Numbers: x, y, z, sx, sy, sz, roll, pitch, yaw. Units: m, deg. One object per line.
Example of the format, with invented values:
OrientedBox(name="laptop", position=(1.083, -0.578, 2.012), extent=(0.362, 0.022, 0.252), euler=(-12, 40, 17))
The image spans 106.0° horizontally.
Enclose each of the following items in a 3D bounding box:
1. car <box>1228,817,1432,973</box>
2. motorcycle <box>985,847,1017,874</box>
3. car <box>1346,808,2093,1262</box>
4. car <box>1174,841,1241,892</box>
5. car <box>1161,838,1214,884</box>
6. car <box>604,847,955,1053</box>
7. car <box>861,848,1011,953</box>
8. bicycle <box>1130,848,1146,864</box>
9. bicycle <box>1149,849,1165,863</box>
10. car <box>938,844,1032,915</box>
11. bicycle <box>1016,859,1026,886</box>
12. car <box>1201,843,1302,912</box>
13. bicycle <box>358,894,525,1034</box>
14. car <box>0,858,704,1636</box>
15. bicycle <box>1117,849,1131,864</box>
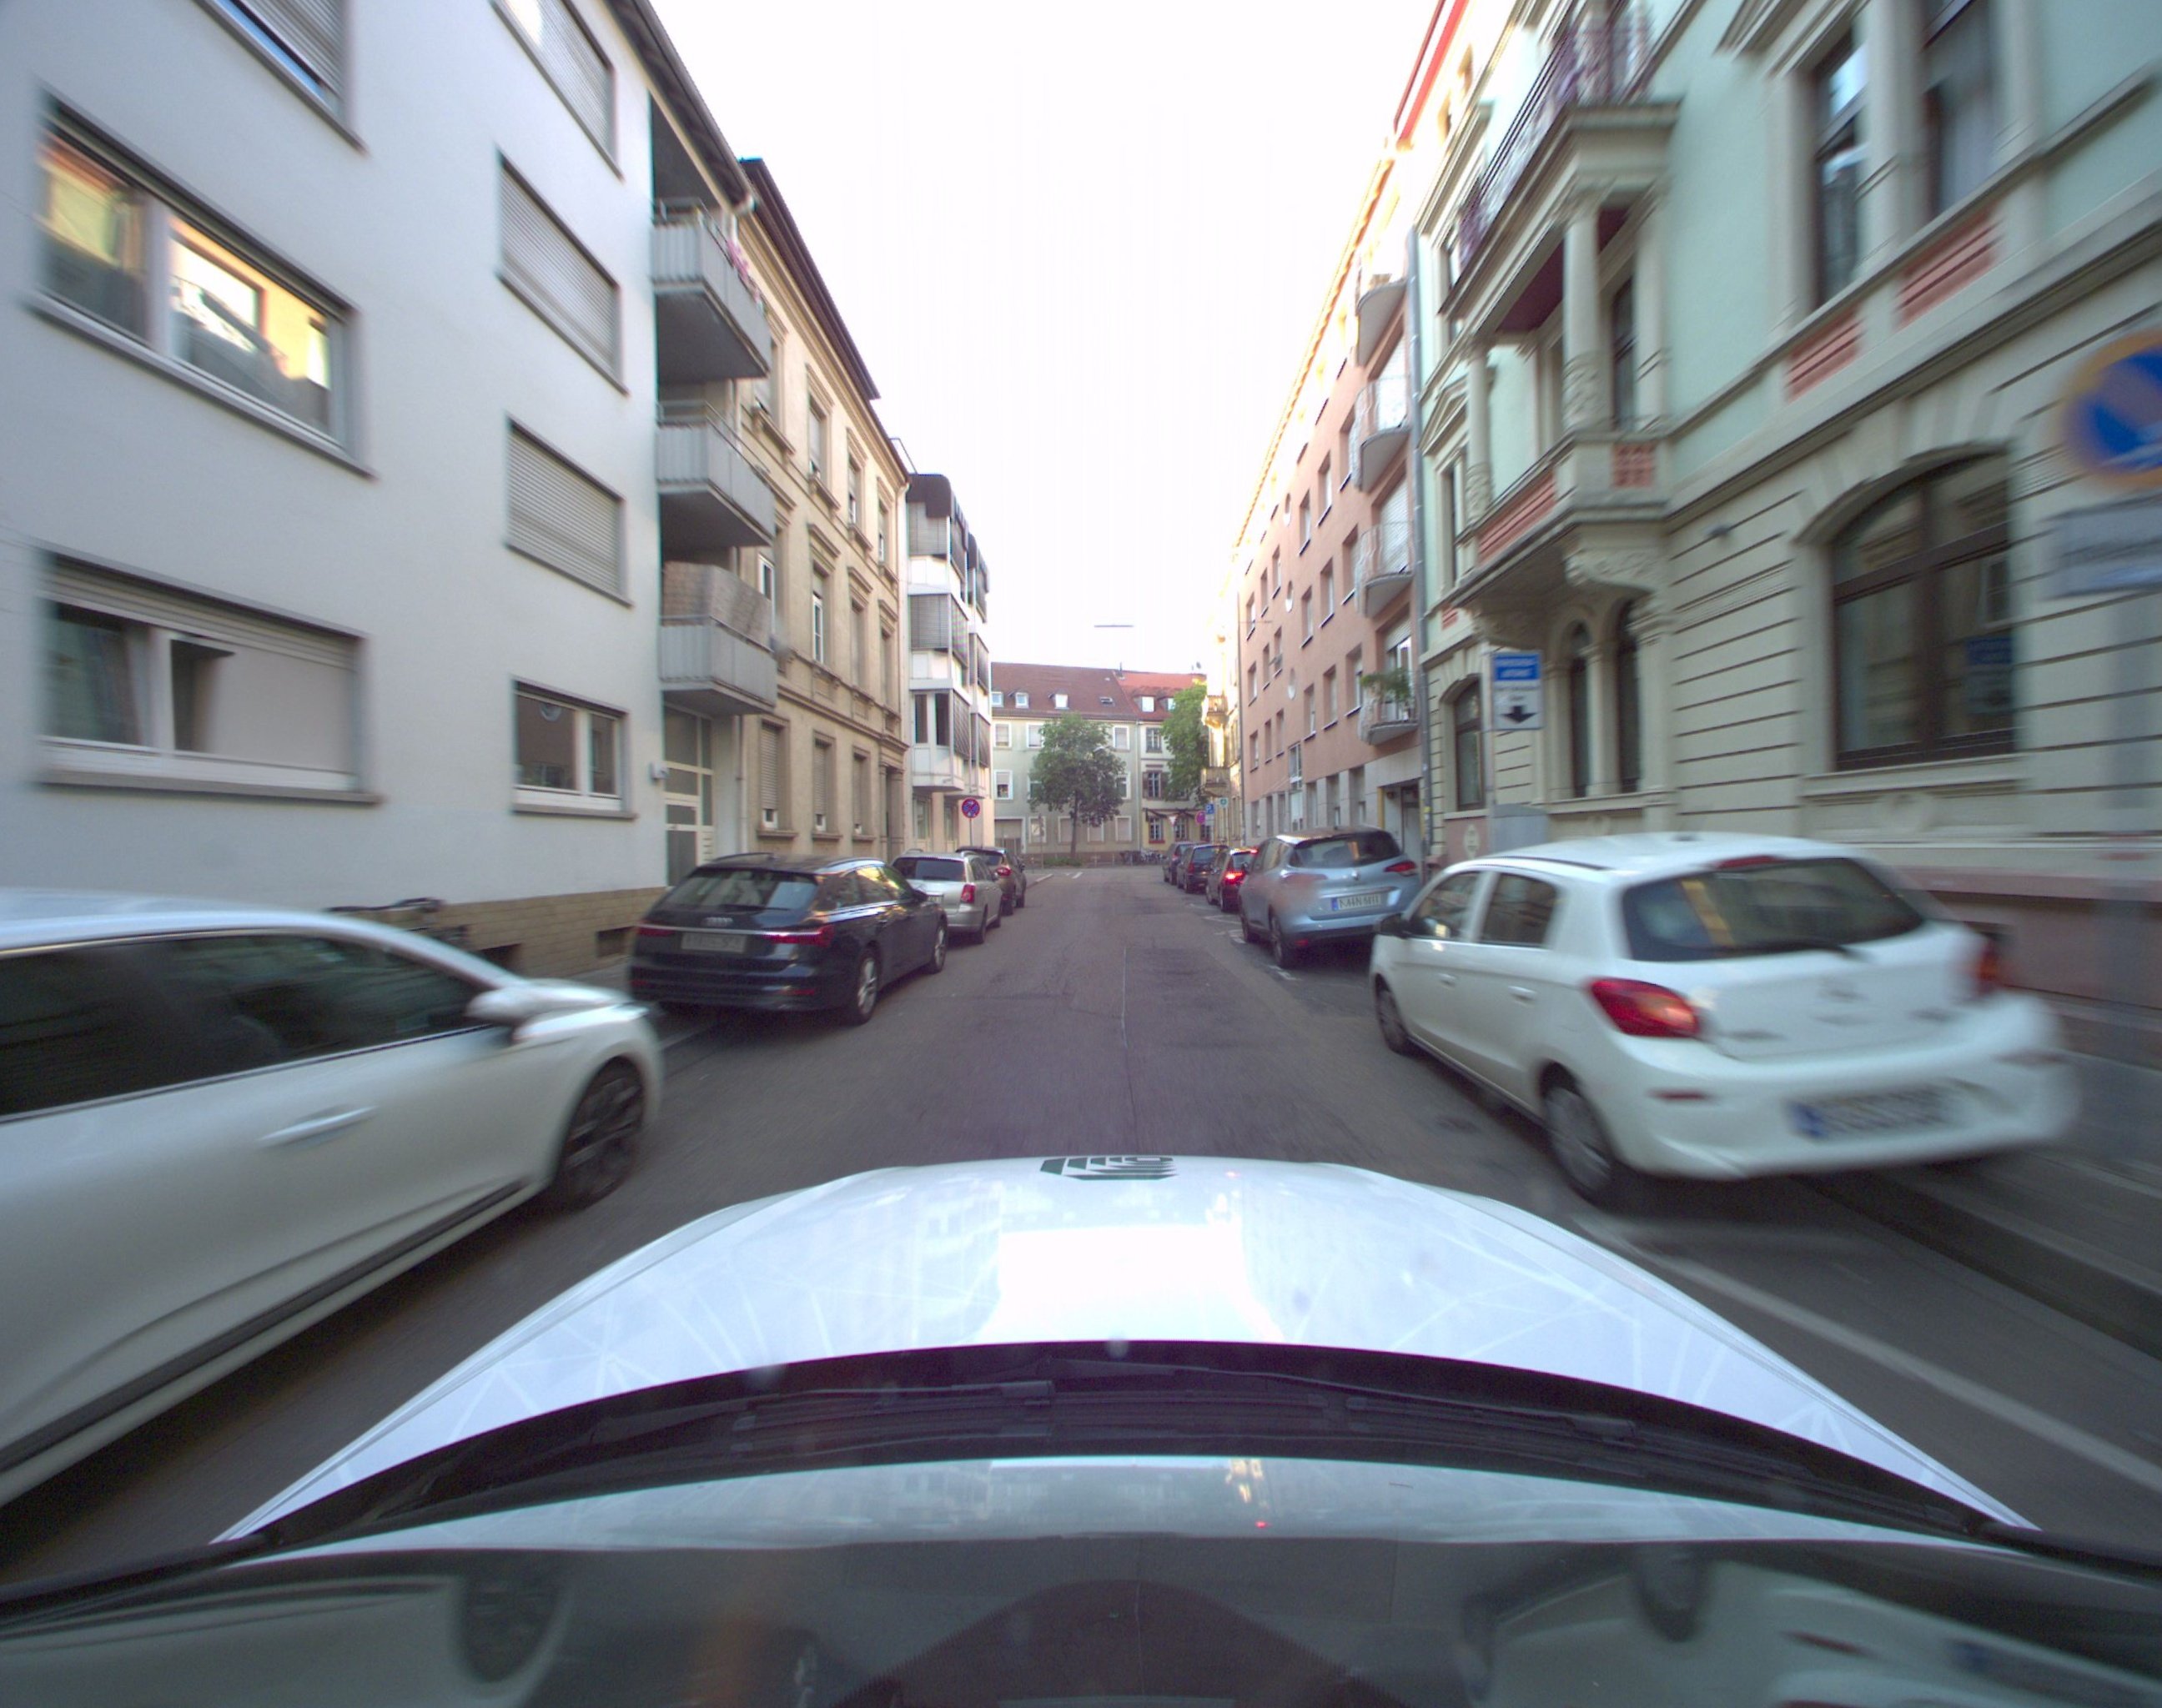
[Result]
OrientedBox(name="car", position=(3.194, 0.448, 11.293), extent=(1.683, 1.741, 4.112), euler=(-1, 0, 2))
OrientedBox(name="motorcycle", position=(-4.689, 0.393, 47.637), extent=(0.673, 1.555, 2.137), euler=(-2, 0, -40))
OrientedBox(name="car", position=(2.837, 0.629, 4.679), extent=(1.564, 1.578, 3.592), euler=(-1, 0, 2))
OrientedBox(name="car", position=(4.065, 0.364, 26.779), extent=(1.683, 1.514, 4.286), euler=(-1, 0, 2))
OrientedBox(name="car", position=(4.106, 0.239, 31.903), extent=(1.683, 1.625, 4.057), euler=(-1, 0, 2))
OrientedBox(name="car", position=(-2.665, 0.721, 8.493), extent=(1.783, 1.539, 4.497), euler=(-1, 0, 2))
OrientedBox(name="car", position=(-2.388, 0.684, 14.577), extent=(1.784, 1.539, 4.435), euler=(-1, 0, 1))
OrientedBox(name="bicycle", position=(4.391, 0.148, 62.737), extent=(0.446, 1.145, 2.029), euler=(-2, 0, -19))
OrientedBox(name="bicycle", position=(6.071, 0.167, 65.243), extent=(0.421, 1.145, 2.028), euler=(-2, 0, -20))
OrientedBox(name="car", position=(-2.289, 0.562, 20.460), extent=(1.784, 1.576, 4.071), euler=(-1, 0, 1))
OrientedBox(name="bicycle", position=(-2.554, 0.770, 34.680), extent=(0.399, 1.102, 1.811), euler=(-1, 0, -3))
OrientedBox(name="car", position=(3.964, 0.485, 19.560), extent=(1.683, 1.458, 4.134), euler=(-1, 0, 2))
OrientedBox(name="bicycle", position=(-5.565, 0.907, 7.189), extent=(0.291, 1.009, 1.542), euler=(-1, 0, -2))
OrientedBox(name="car", position=(-2.920, 0.804, 2.456), extent=(1.631, 1.489, 3.791), euler=(-1, 0, 2))
OrientedBox(name="bicycle", position=(3.367, 0.199, 64.302), extent=(0.446, 1.145, 2.031), euler=(-2, 0, -16))
